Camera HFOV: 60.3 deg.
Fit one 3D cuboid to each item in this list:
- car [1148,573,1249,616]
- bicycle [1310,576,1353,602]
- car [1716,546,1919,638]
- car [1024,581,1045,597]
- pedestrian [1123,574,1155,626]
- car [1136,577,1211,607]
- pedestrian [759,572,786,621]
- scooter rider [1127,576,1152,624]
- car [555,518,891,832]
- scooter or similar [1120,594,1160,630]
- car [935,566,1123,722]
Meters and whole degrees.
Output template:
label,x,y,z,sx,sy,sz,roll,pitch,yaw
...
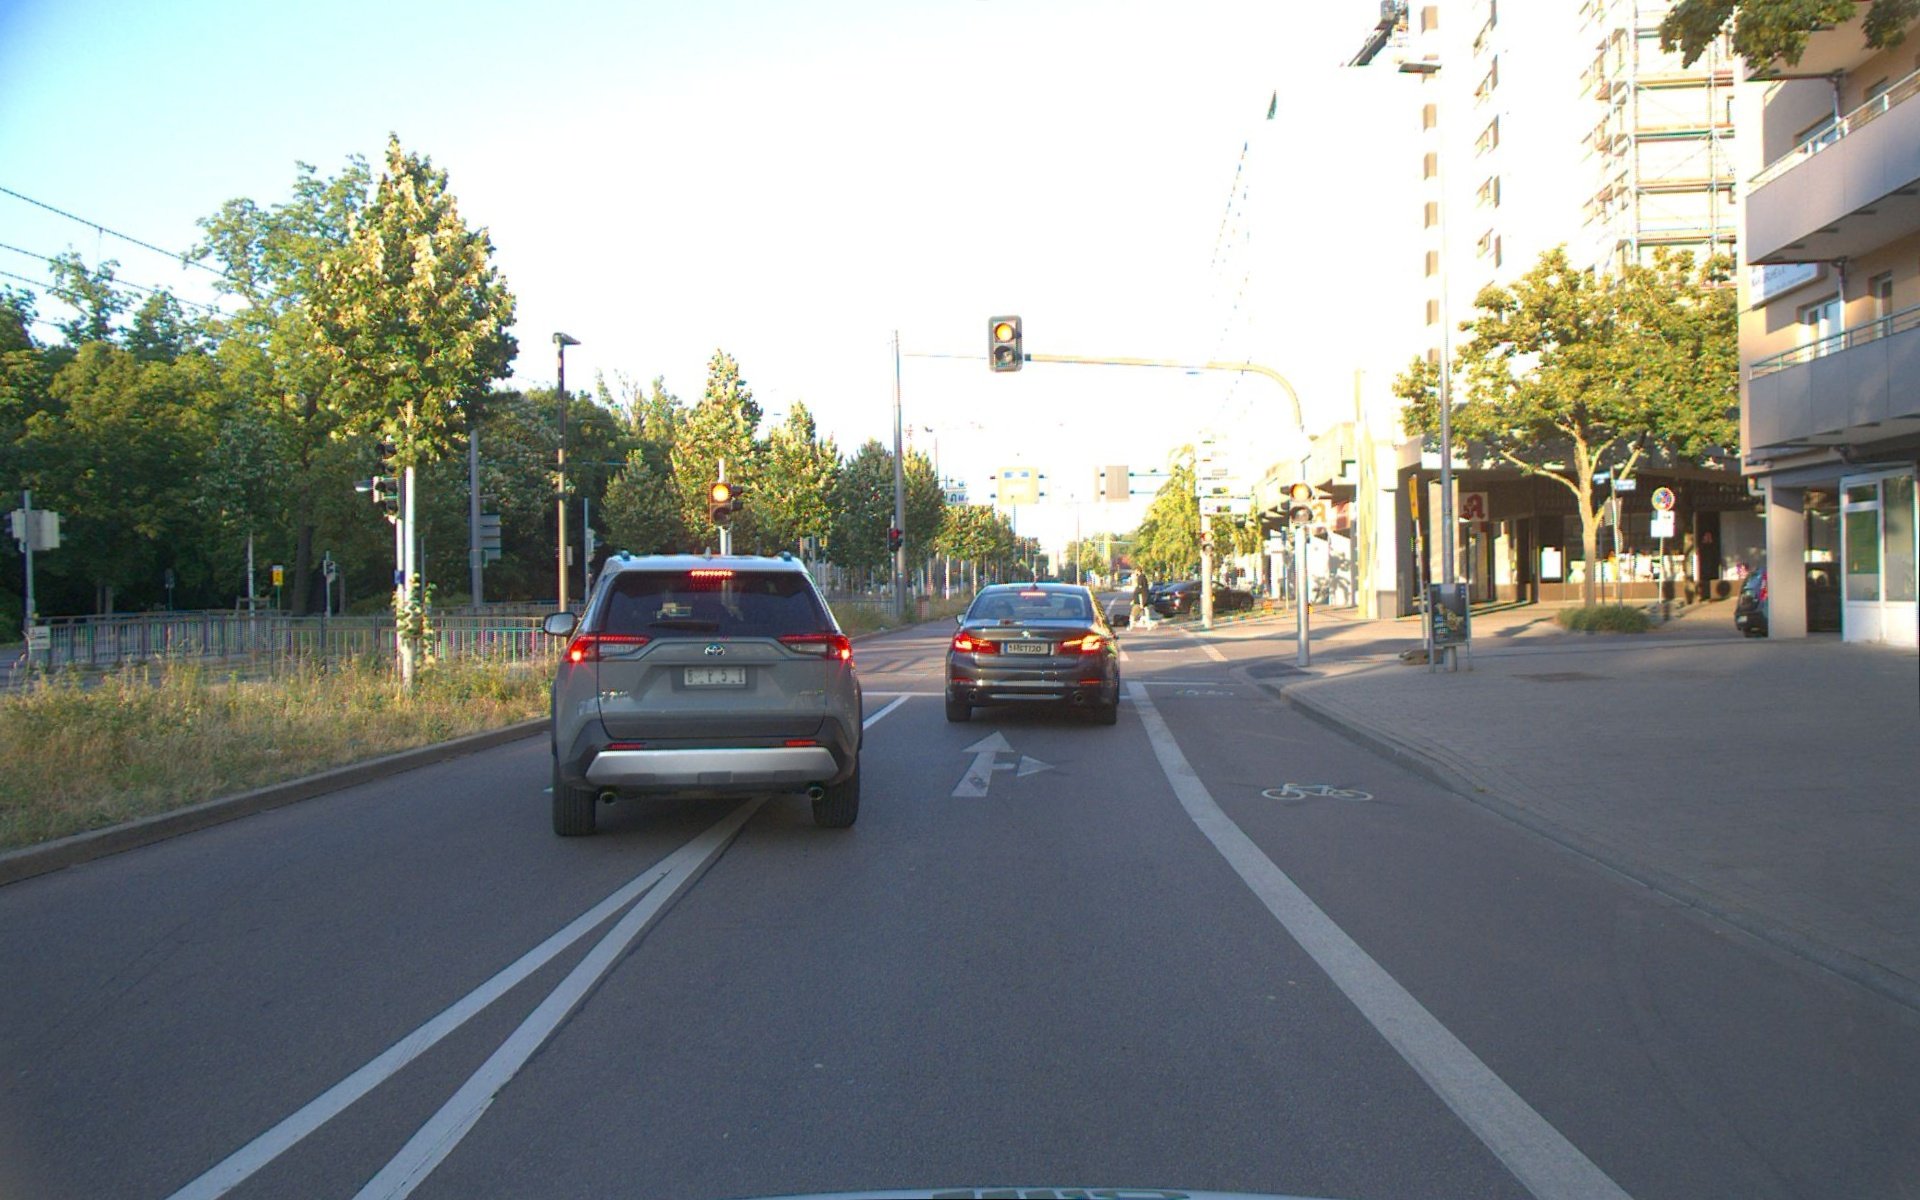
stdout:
label,x,y,z,sx,sy,sz,roll,pitch,yaw
car,9.933,-0.263,68.751,4.227,1.687,1.835,-1,2,-39
bicycle,18.050,-0.531,80.473,1.973,1.169,0.691,2,0,10
car,17.517,-0.144,33.100,3.955,1.613,1.707,-3,-3,8
car,7.161,-1.055,159.201,1.937,1.458,4.846,0,2,4
pedestrian,5.597,-0.007,51.686,0.817,1.614,0.812,-1,0,17
car,12.520,-0.480,96.992,4.212,1.687,1.841,-1,2,-32
pedestrian,-6.647,-0.129,58.691,0.817,1.742,0.648,-1,0,2
scooter rider,5.903,-0.014,54.390,0.803,1.540,0.653,-1,0,5
car,-1.670,0.334,11.149,1.821,1.687,4.258,0,2,-11
scooter or similar,5.914,0.392,54.361,1.301,1.173,0.514,-1,0,5
car,0.895,0.391,18.852,1.891,1.507,4.526,0,2,5
